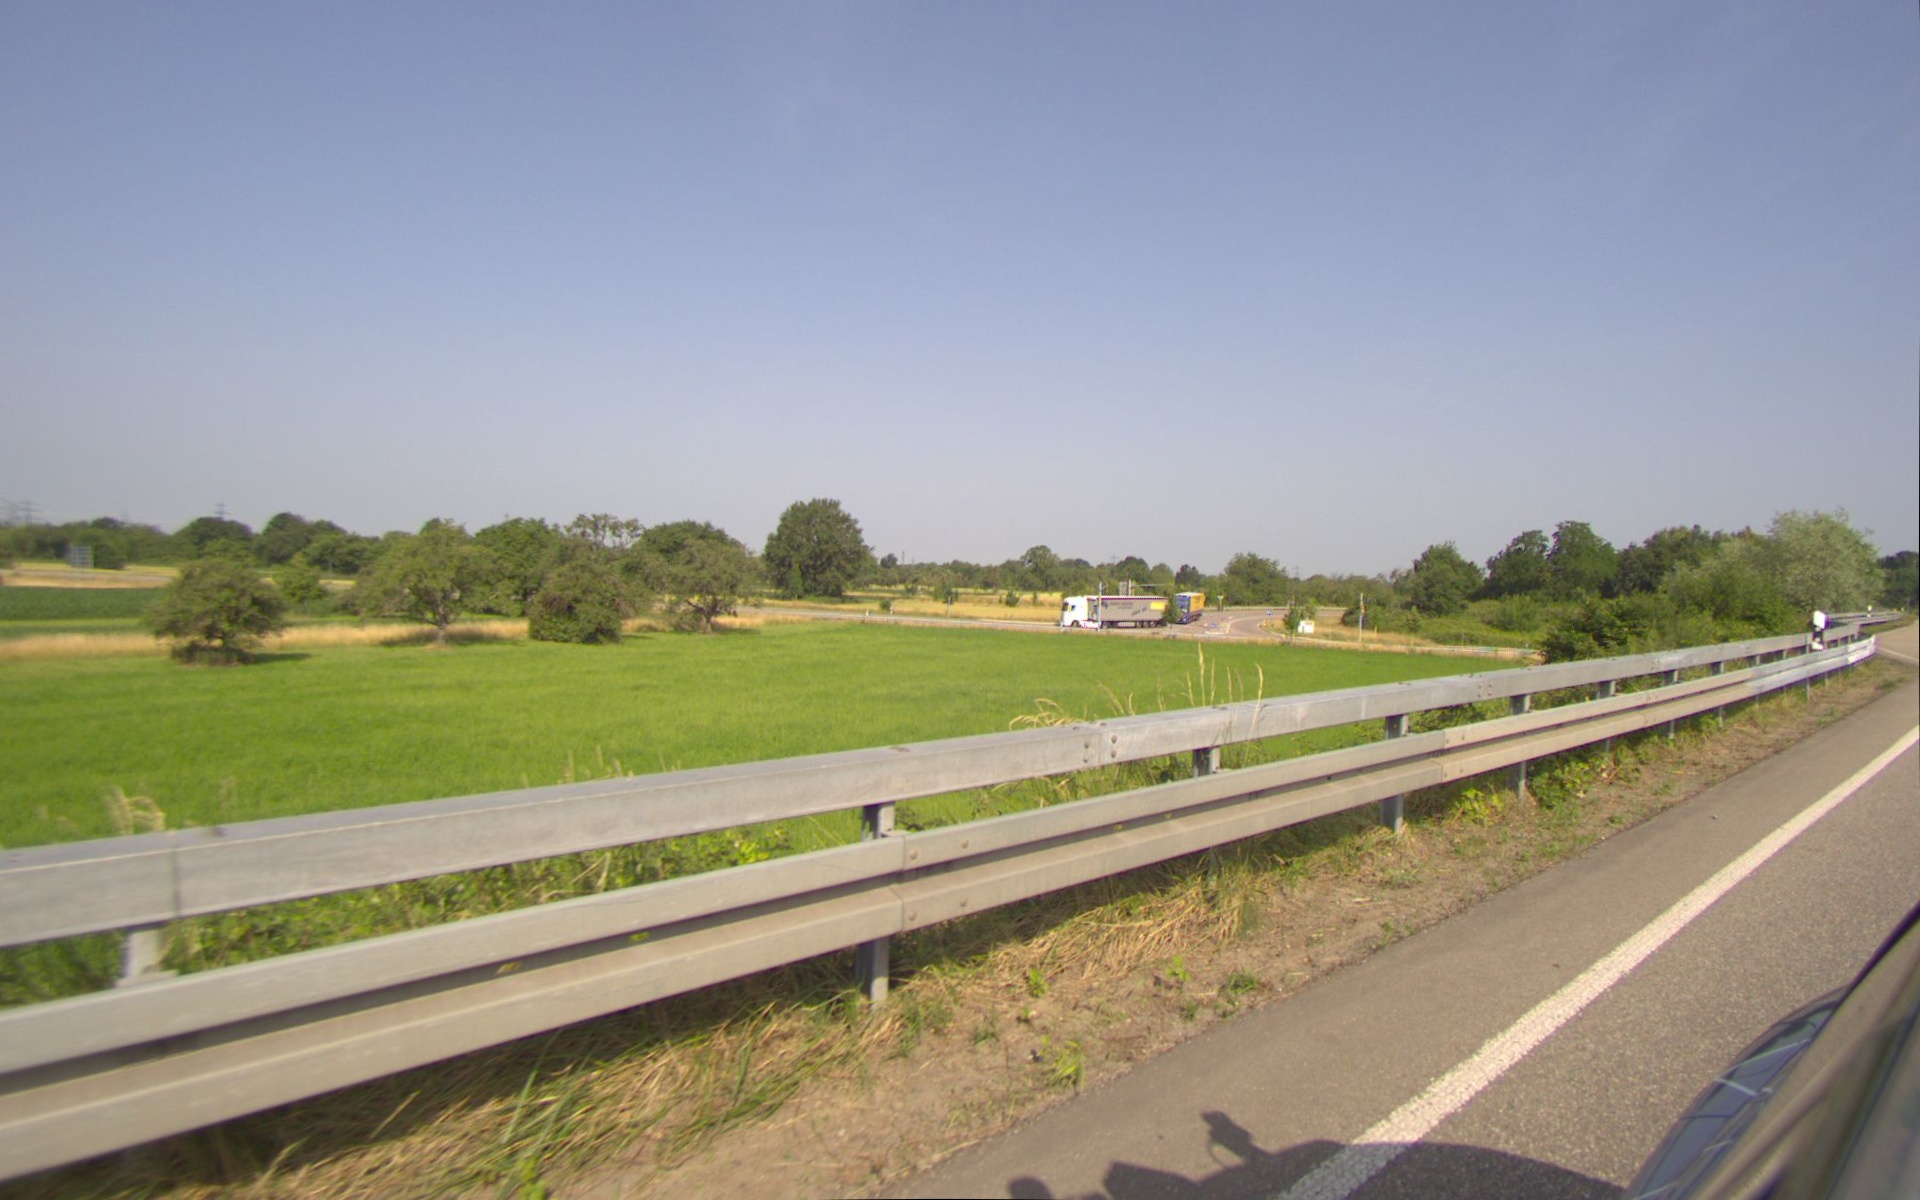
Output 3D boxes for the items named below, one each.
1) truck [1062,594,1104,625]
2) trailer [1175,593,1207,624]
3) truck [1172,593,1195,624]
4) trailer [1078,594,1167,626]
[{"bbox_3d":[15.577,1.159,128.328,4.850,3.724,2.108,2,0,1],"label":"truck"},{"bbox_3d":[34.572,1.198,150.990,2.236,4.221,14.318,3,1,22],"label":"trailer"},{"bbox_3d":[32.019,1.214,144.761,2.239,4.221,4.334,3,1,25],"label":"truck"},{"bbox_3d":[21.200,1.348,131.021,13.662,3.698,2.109,2,0,-35],"label":"trailer"}]
